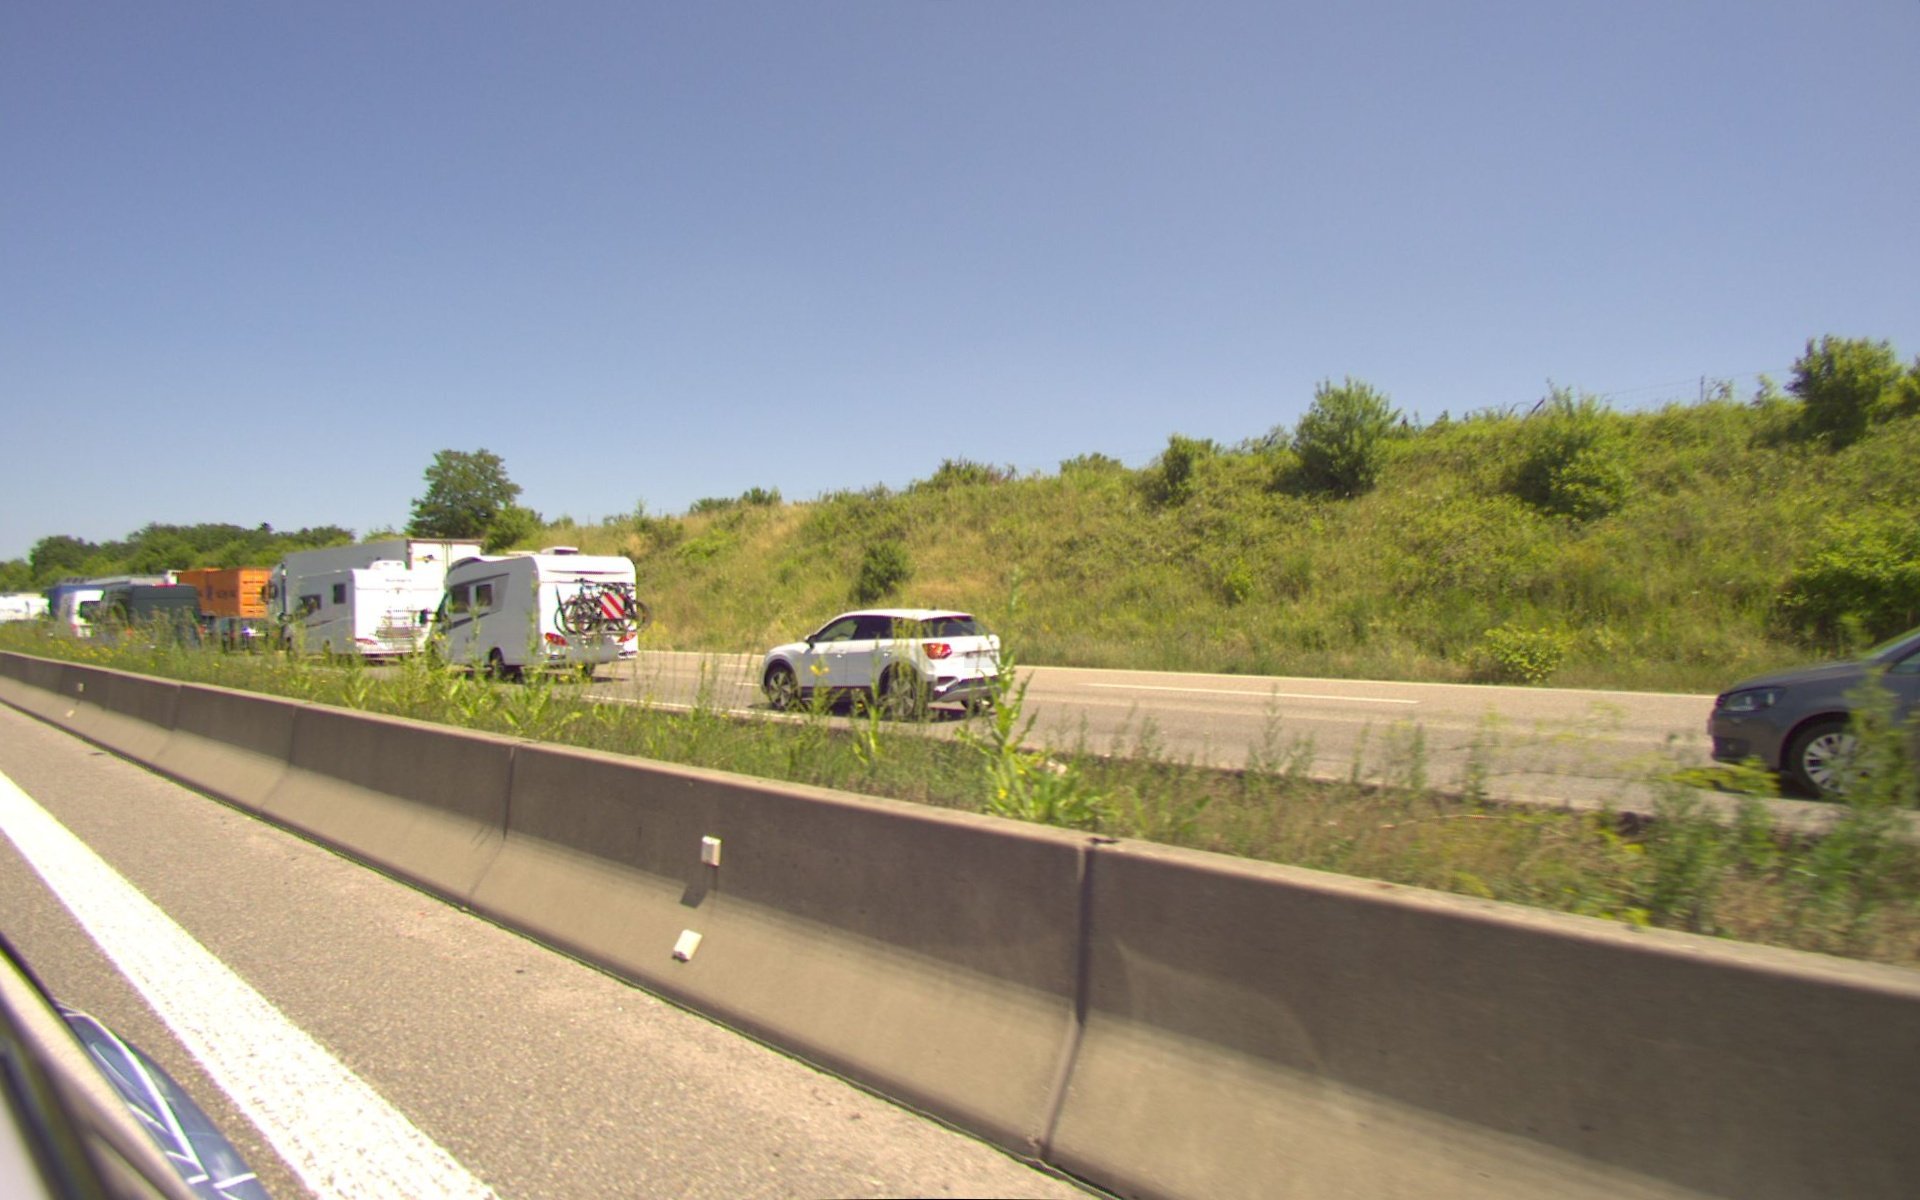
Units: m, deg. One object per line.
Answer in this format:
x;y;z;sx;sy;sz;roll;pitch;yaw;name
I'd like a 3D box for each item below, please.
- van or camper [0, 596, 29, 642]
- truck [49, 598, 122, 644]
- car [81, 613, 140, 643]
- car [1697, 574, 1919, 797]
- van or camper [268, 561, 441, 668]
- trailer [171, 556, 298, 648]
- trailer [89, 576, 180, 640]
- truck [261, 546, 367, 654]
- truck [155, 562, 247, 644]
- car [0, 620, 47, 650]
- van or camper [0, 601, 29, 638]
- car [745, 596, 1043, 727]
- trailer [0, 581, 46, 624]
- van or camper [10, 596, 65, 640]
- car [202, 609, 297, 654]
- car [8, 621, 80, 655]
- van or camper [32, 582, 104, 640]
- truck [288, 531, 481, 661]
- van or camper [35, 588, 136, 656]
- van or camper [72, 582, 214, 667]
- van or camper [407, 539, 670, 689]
-55.655;1.077;58.356;6.412;2.560;2.170;-1;-1;41;van or camper
-50.855;1.203;58.812;6.858;2.525;2.211;-1;-1;41;truck
-44.393;1.424;52.845;4.111;1.476;1.713;-1;-1;41;car
8.254;0.610;7.163;4.783;1.596;1.736;-1;-1;41;car
-18.924;0.438;31.389;7.827;2.959;2.517;-1;-1;43;van or camper
-38.069;0.126;52.846;11.993;4.343;2.585;-1;0;41;trailer
-55.941;0.537;68.453;12.245;4.064;2.752;-1;0;41;trailer
-28.019;0.017;43.805;5.665;4.358;2.493;-1;0;43;truck
-42.693;0.172;56.812;7.288;4.358;2.563;-1;0;40;truck
-47.778;1.733;51.124;4.428;1.419;1.882;-1;-1;41;car
-80.358;1.626;84.660;8.109;2.970;2.812;-1;0;41;van or camper
-1.081;0.800;14.894;4.356;1.640;1.862;-1;-1;41;car
-97.890;0.316;105.522;11.709;4.338;2.751;-1;-1;43;trailer
-65.683;1.245;72.023;7.221;2.945;2.128;-1;0;41;van or camper
-26.957;1.138;38.351;4.880;1.600;1.800;-1;-1;41;car
-41.334;1.664;45.619;4.880;1.419;1.800;-1;-1;41;car
-55.240;0.668;62.618;7.675;3.416;2.289;-1;-1;41;van or camper
-22.450;-0.092;38.967;12.416;4.358;2.494;-1;0;41;truck
-35.027;0.863;40.453;6.054;2.525;2.170;-1;-1;41;van or camper
-26.414;0.750;32.596;7.279;2.453;2.273;-1;-1;41;van or camper
-10.055;0.321;23.580;8.130;2.959;2.517;-1;-1;43;van or camper
